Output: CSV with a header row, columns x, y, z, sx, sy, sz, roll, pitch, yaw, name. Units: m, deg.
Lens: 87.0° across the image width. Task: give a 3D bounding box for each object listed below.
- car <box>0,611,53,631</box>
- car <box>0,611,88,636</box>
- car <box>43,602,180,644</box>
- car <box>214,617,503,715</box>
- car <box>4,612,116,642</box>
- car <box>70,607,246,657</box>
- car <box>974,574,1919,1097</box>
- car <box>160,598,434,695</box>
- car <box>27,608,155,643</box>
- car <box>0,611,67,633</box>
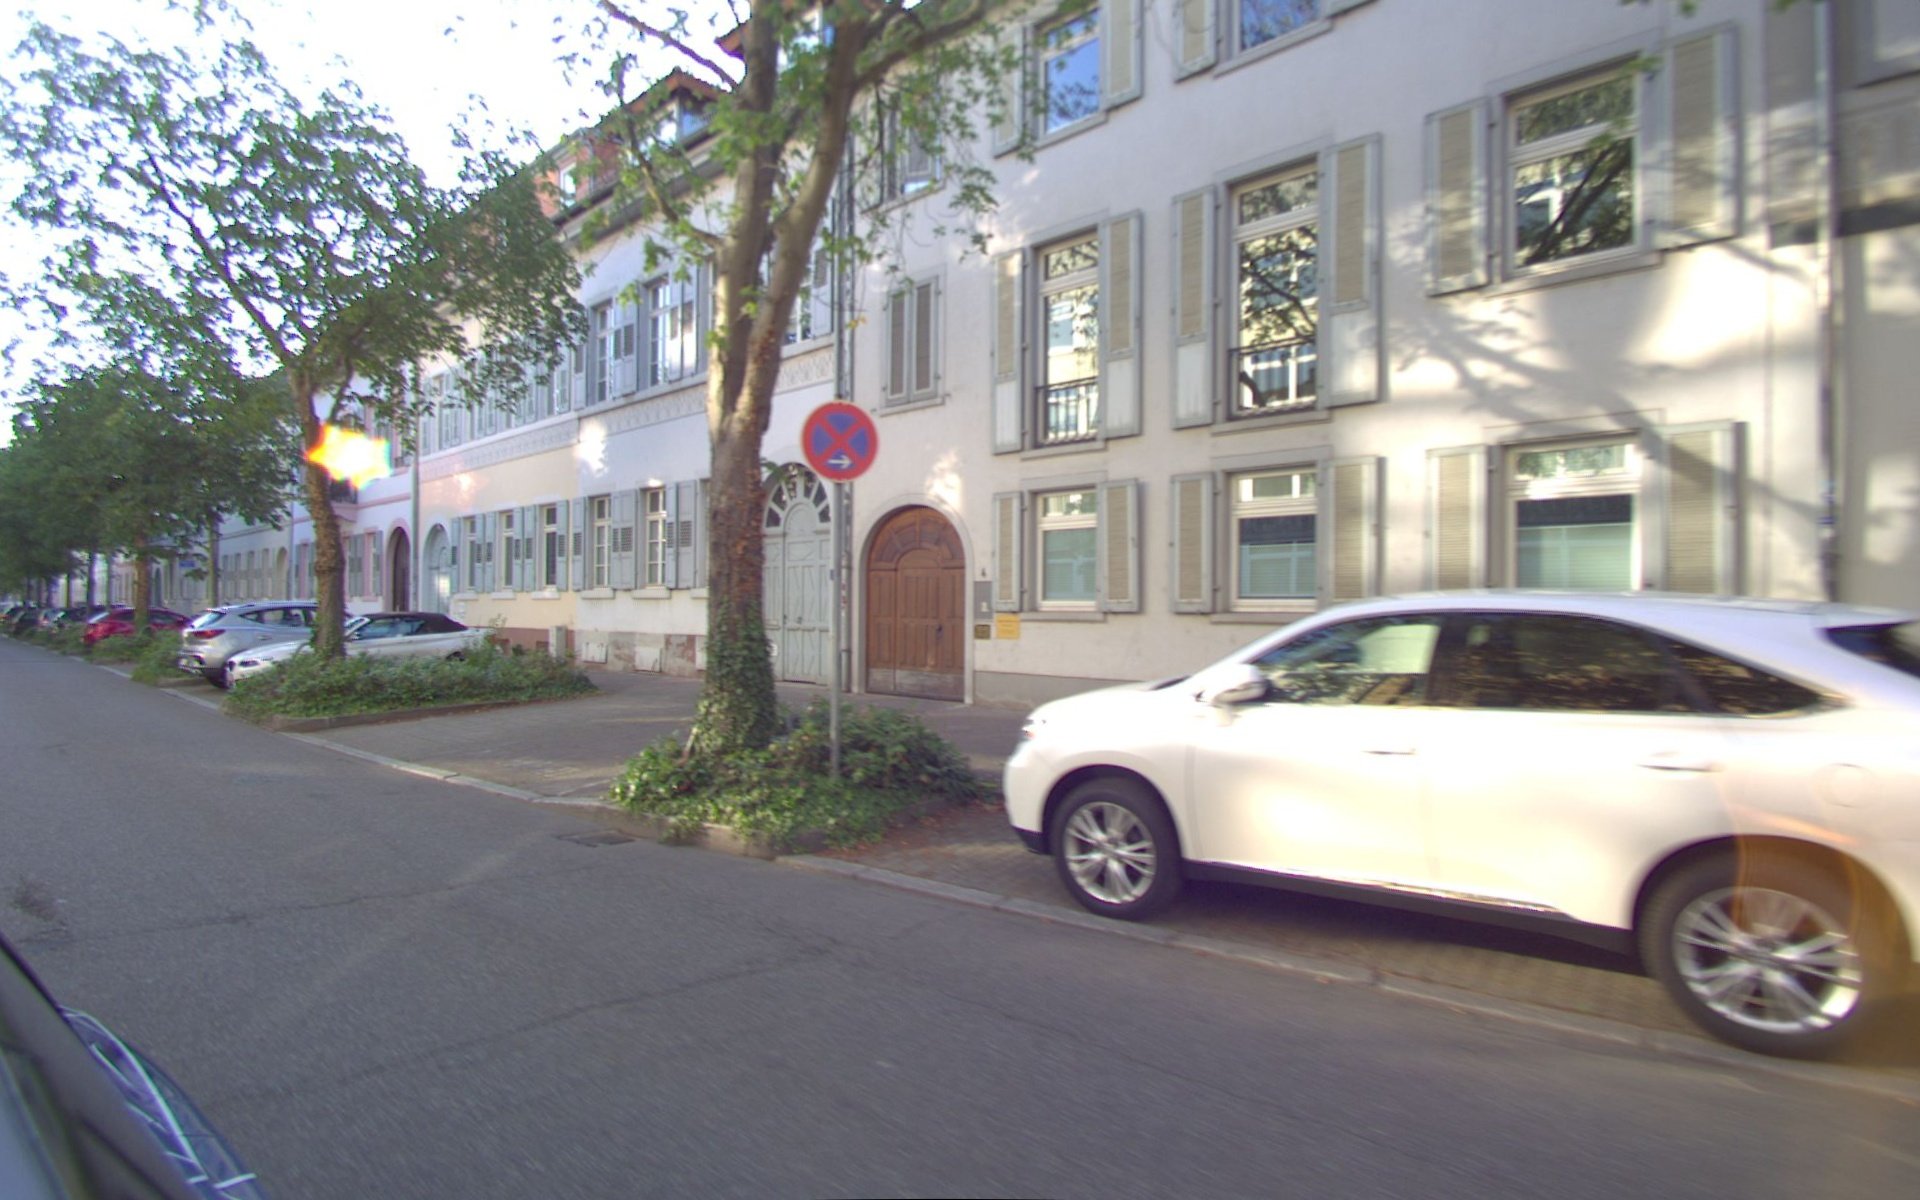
x,y,z,sx,sy,sz,roll,pitch,yaw,name
-72.397,1.618,77.498,1.968,1.528,4.175,-1,-2,41,car
-56.230,1.451,61.881,1.968,1.488,4.175,-1,-2,41,car
-35.822,0.975,42.800,1.800,1.677,4.175,-1,-2,41,car
-10.705,1.108,18.199,4.169,1.557,1.802,2,-2,-44,car
-47.255,1.419,53.214,1.853,1.488,4.175,-1,-2,41,car
-25.809,1.012,32.683,1.800,1.519,4.175,-1,-2,41,car
2.478,0.773,4.998,4.650,1.680,1.811,0,2,38,car
-12.886,0.873,19.877,1.800,1.703,4.175,-1,-2,41,car
-39.334,1.149,45.861,1.758,1.529,4.175,-1,-2,41,car
-66.198,1.556,71.716,1.968,1.488,4.175,-1,-2,41,car
